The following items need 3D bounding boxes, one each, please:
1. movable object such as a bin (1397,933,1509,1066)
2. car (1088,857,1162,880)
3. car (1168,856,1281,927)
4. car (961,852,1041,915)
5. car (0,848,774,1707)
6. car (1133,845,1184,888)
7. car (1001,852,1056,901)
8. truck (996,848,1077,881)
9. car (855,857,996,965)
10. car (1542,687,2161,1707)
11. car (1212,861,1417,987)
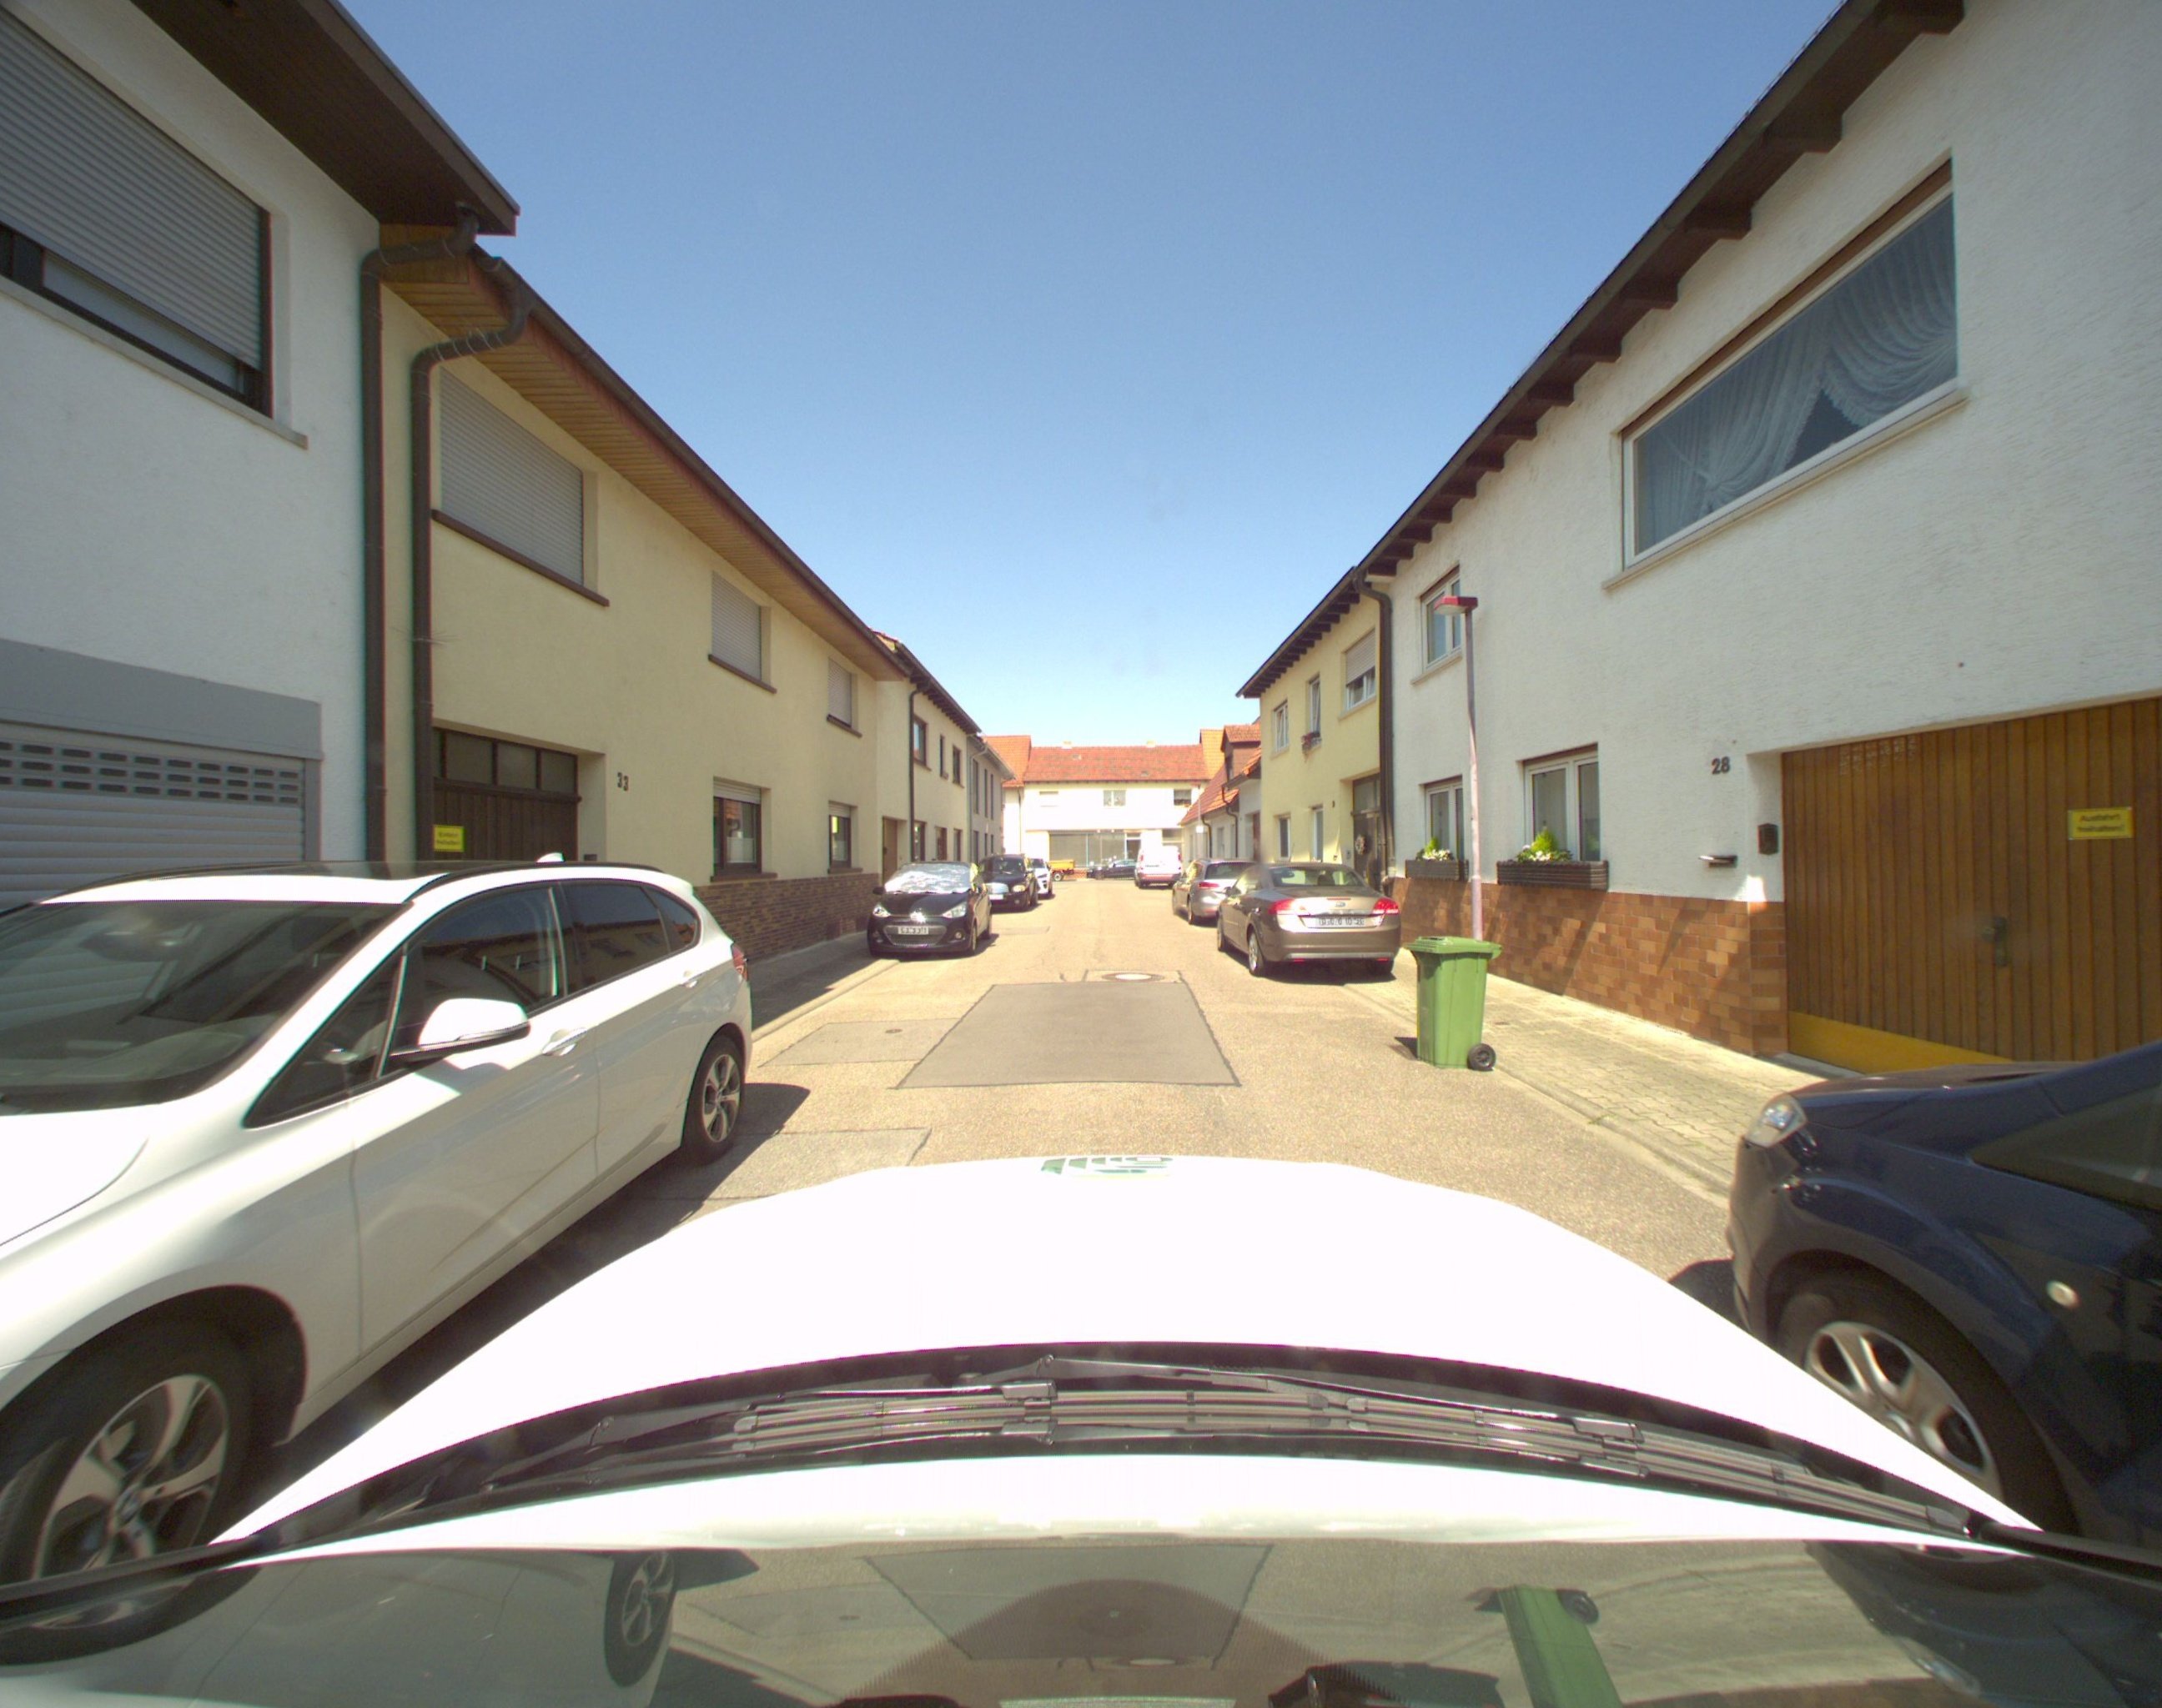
[{"bbox_3d":[2.792,1.071,6.156,0.549,0.892,0.578,0,-1,-6],"label":"movable object such as a bin"},{"bbox_3d":[2.777,0.938,52.187,4.602,1.394,1.927,0,-4,-1],"label":"car"},{"bbox_3d":[3.206,0.781,19.120,1.832,1.448,4.775,0,0,0],"label":"car"},{"bbox_3d":[-2.224,0.794,23.689,1.715,1.615,3.992,-2,0,3],"label":"car"},{"bbox_3d":[-2.622,0.789,2.831,1.658,1.549,3.940,-2,0,-2],"label":"car"},{"bbox_3d":[3.523,0.566,37.880,2.005,1.839,5.266,0,0,1],"label":"car"},{"bbox_3d":[-1.876,0.790,30.251,1.769,1.615,4.346,-2,0,-1],"label":"car"},{"bbox_3d":[-2.789,0.683,52.301,5.045,2.014,2.190,0,-1,1],"label":"truck"},{"bbox_3d":[-2.503,0.857,13.997,1.635,1.537,3.941,-2,0,0],"label":"car"},{"bbox_3d":[2.498,0.632,0.826,1.691,1.777,4.198,0,0,0],"label":"car"},{"bbox_3d":[3.002,0.817,11.358,1.691,1.435,4.102,0,0,0],"label":"car"}]
